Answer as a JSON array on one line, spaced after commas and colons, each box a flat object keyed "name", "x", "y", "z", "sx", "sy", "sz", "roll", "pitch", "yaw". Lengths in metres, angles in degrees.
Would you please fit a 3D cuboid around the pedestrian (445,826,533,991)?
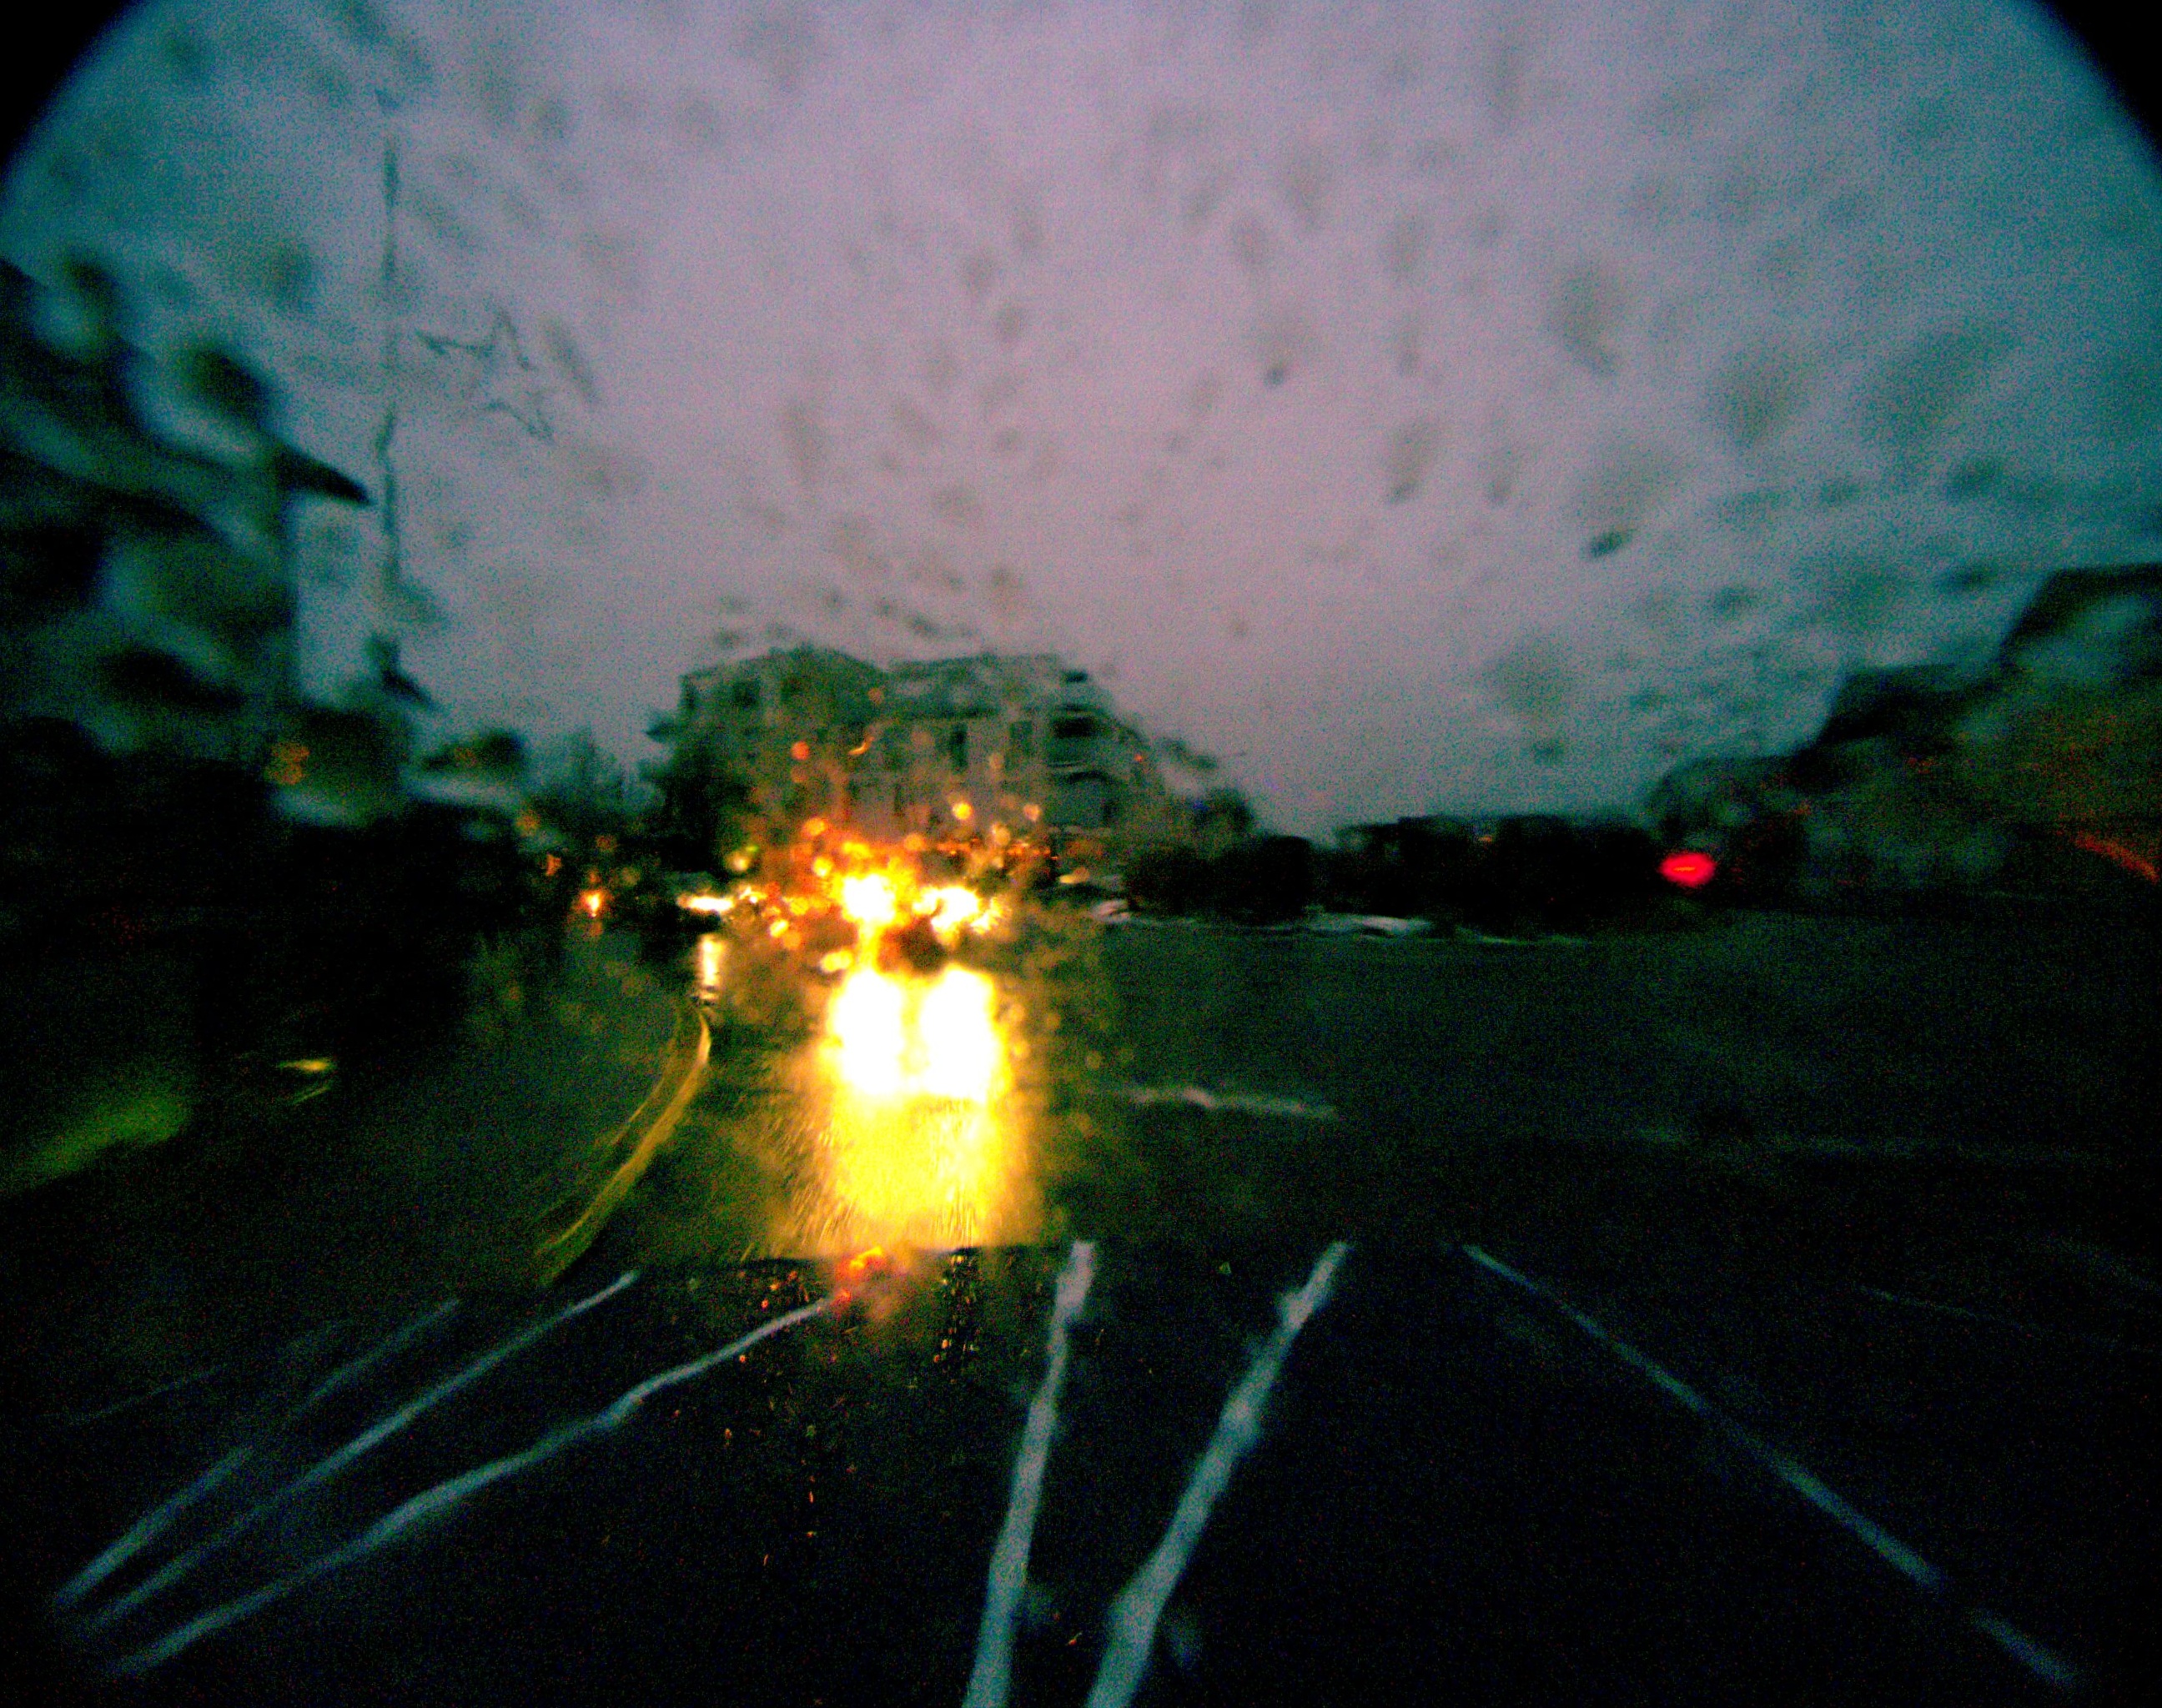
[{"name": "pedestrian", "x": -7.082, "y": 0.614, "z": 9.086, "sx": 0.711, "sy": 1.856, "sz": 0.790, "roll": -3, "pitch": 2, "yaw": -40}]

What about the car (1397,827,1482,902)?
[{"name": "car", "x": 10.568, "y": 0.219, "z": 22.575, "sx": 2.054, "sy": 1.976, "sz": 4.543, "roll": -1, "pitch": 2, "yaw": 24}]

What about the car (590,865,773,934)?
[{"name": "car", "x": -9.740, "y": 1.081, "z": 18.539, "sx": 4.010, "sy": 1.471, "sz": 1.766, "roll": -1, "pitch": 1, "yaw": 23}]

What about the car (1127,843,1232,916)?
[{"name": "car", "x": 2.315, "y": 0.521, "z": 18.140, "sx": 2.171, "sy": 1.469, "sz": 4.001, "roll": -2, "pitch": 1, "yaw": 7}]

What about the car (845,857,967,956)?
[{"name": "car", "x": -3.208, "y": 0.870, "z": 14.613, "sx": 1.959, "sy": 1.576, "sz": 4.107, "roll": -1, "pitch": 0, "yaw": -9}]

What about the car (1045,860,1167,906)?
[{"name": "car", "x": 0.894, "y": 1.040, "z": 28.327, "sx": 4.275, "sy": 1.436, "sz": 1.560, "roll": -2, "pitch": 2, "yaw": -9}]

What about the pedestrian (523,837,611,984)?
[{"name": "pedestrian", "x": -6.519, "y": 0.675, "z": 9.627, "sx": 0.770, "sy": 1.752, "sz": 0.790, "roll": -3, "pitch": 2, "yaw": -40}]

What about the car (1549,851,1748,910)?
[{"name": "car", "x": 17.226, "y": 0.711, "z": 23.345, "sx": 1.872, "sy": 1.590, "sz": 4.526, "roll": -1, "pitch": 1, "yaw": -29}]
